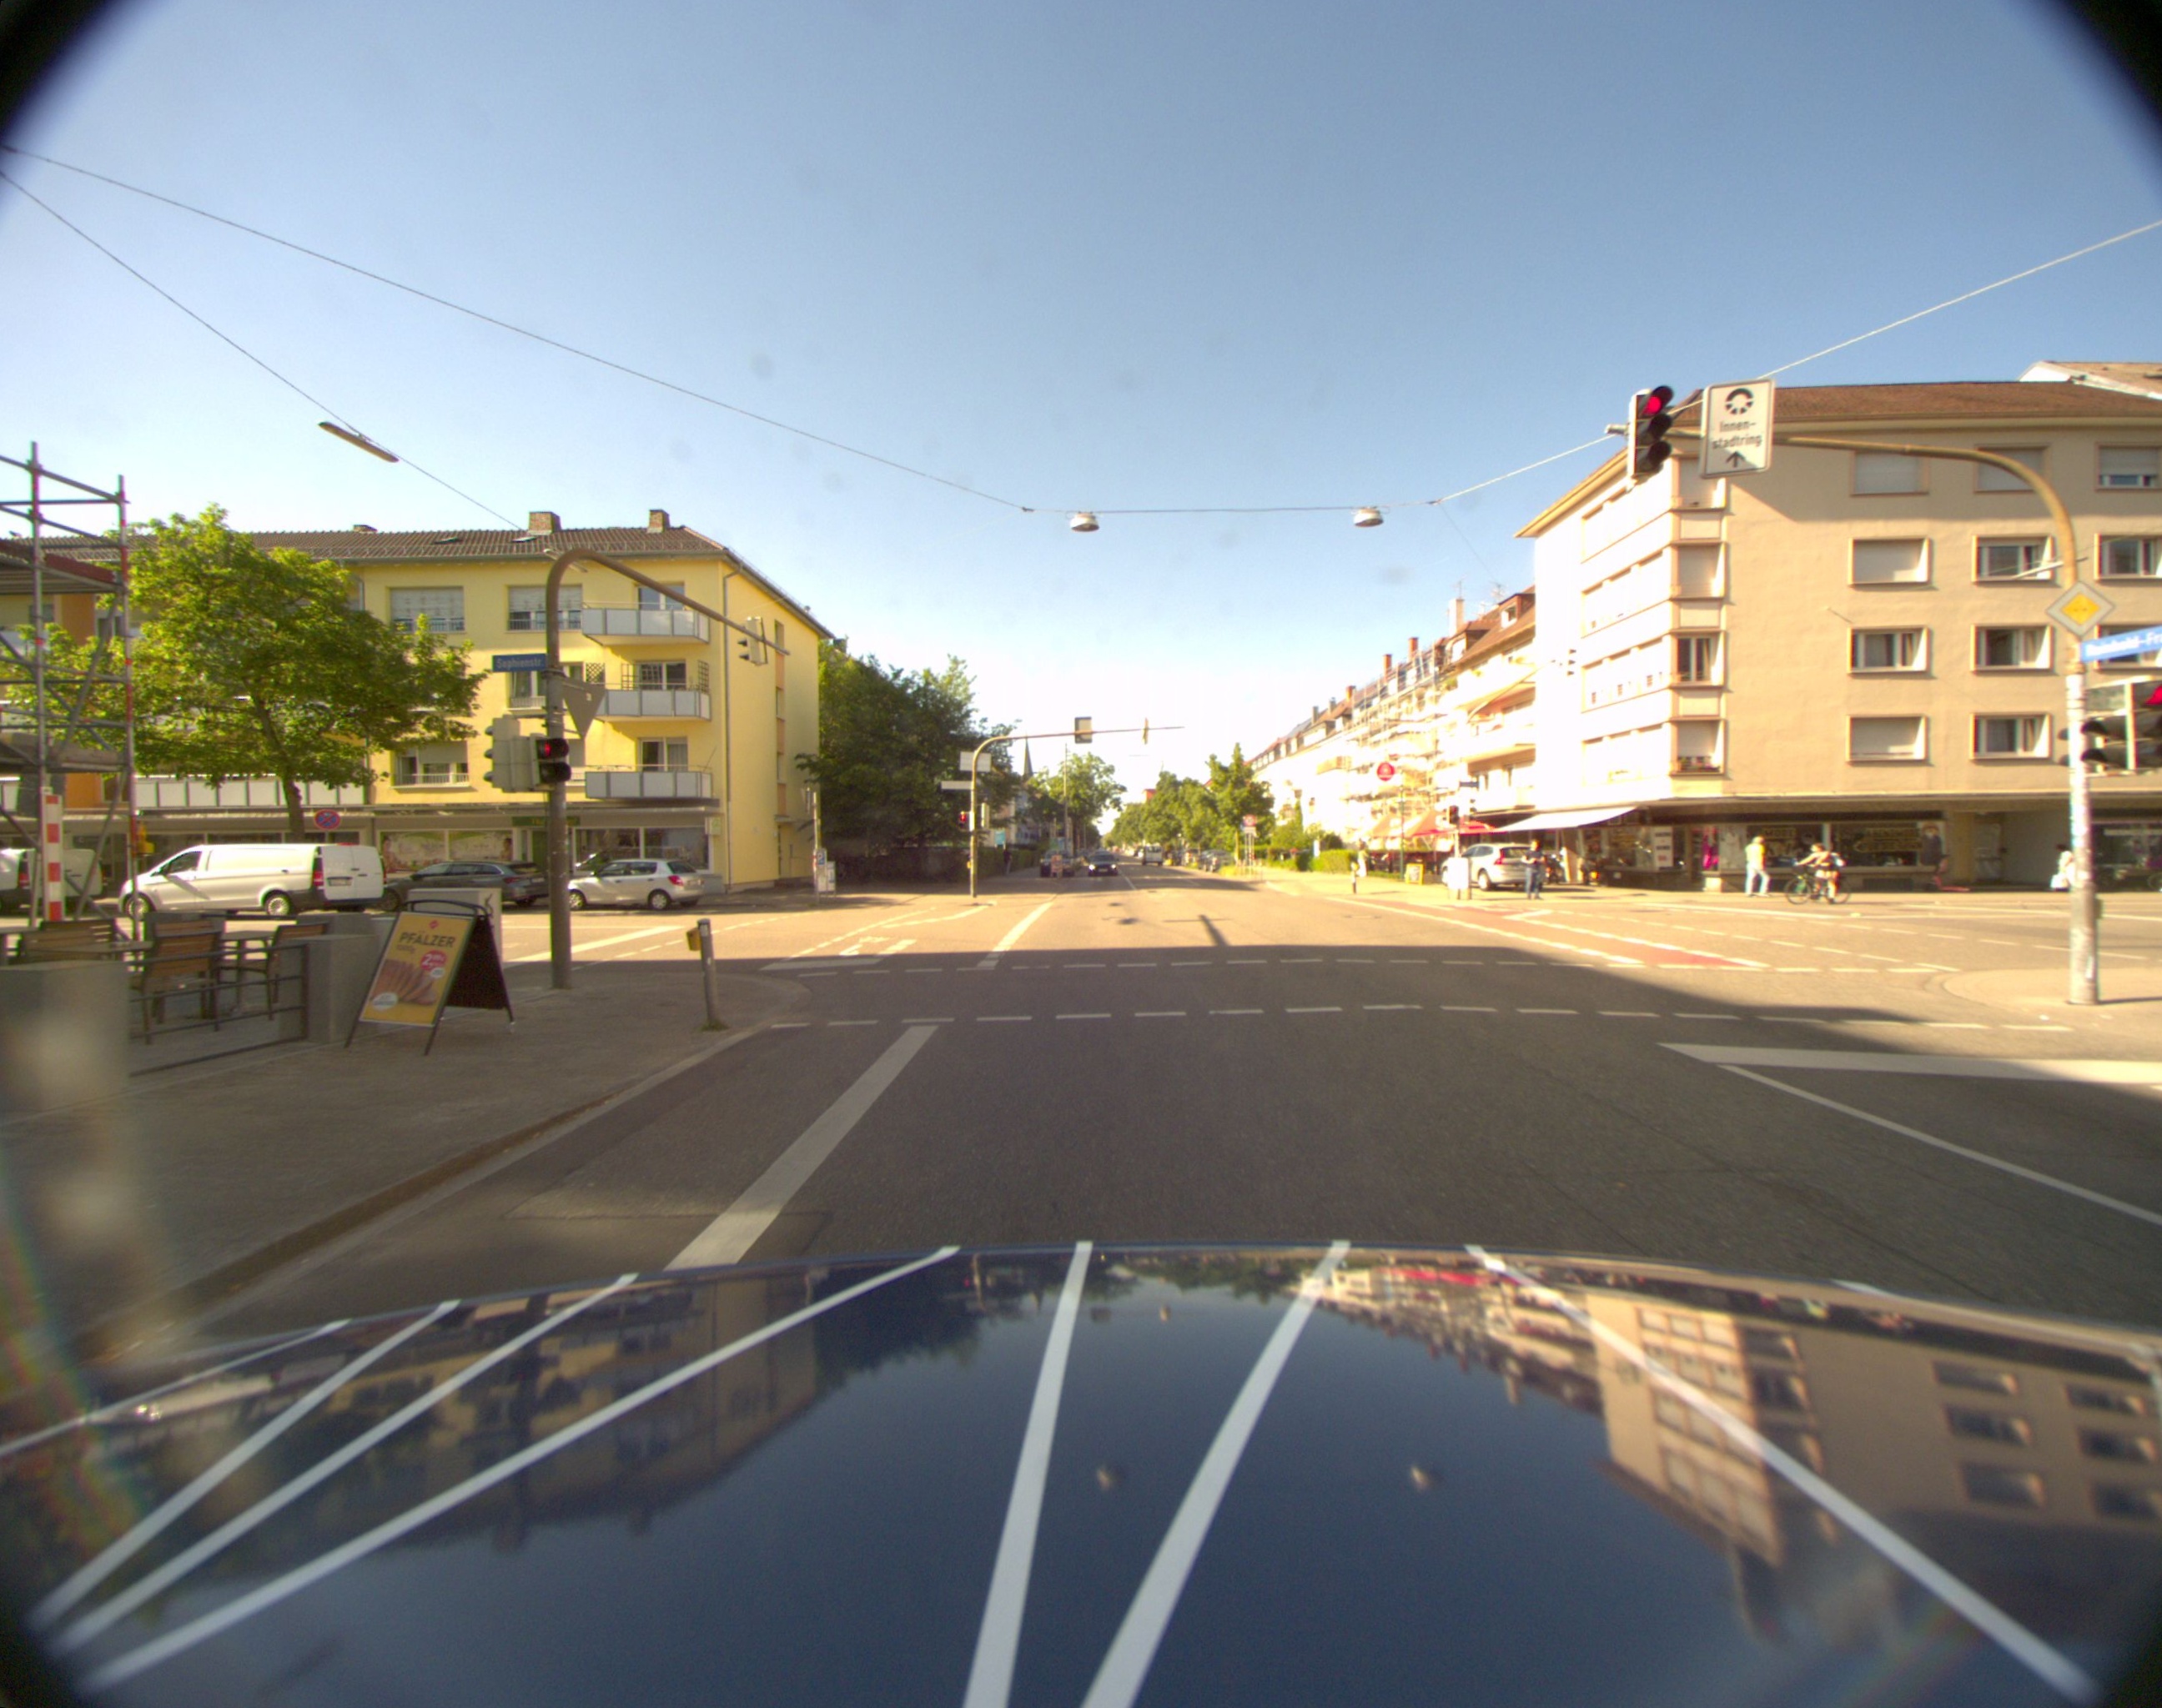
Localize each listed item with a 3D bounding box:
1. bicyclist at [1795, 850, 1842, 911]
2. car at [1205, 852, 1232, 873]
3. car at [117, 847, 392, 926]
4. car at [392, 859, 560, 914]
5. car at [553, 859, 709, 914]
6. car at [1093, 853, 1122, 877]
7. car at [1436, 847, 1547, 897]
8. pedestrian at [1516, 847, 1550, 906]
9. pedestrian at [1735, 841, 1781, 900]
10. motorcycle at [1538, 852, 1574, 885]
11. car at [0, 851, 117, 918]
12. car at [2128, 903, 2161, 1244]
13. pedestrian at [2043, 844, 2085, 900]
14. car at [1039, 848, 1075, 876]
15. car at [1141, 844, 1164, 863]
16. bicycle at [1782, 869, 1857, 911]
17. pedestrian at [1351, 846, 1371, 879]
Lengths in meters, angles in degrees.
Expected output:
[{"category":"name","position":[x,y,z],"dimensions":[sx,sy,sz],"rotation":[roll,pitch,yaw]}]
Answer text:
[{"category":"bicyclist","position":[19.744,0.695,20.357],"dimensions":[0.685,1.598,0.578],"rotation":[-1,1,0]},{"category":"car","position":[9.146,0.532,50.607],"dimensions":[1.322,1.348,3.093],"rotation":[-1,1,2]},{"category":"car","position":[-20.713,0.788,19.195],"dimensions":[4.961,1.849,1.866],"rotation":[-1,0,1]},{"category":"car","position":[-17.629,0.925,22.255],"dimensions":[3.644,1.473,1.579],"rotation":[-1,1,2]},{"category":"car","position":[-13.030,0.924,22.115],"dimensions":[3.644,1.473,1.481],"rotation":[-1,1,2]},{"category":"car","position":[1.591,0.614,45.952],"dimensions":[1.654,1.348,4.304],"rotation":[-1,1,2]},{"category":"car","position":[14.504,0.585,27.161],"dimensions":[1.764,1.613,4.304],"rotation":[-1,1,2]},{"category":"pedestrian","position":[13.236,0.647,22.272],"dimensions":[0.671,1.709,0.584],"rotation":[0,2,11]},{"category":"pedestrian","position":[20.130,0.482,22.612],"dimensions":[0.728,1.725,0.683],"rotation":[-1,2,0]},{"category":"motorcycle","position":[20.729,0.614,33.209],"dimensions":[0.570,1.360,1.763],"rotation":[0,1,3]},{"category":"car","position":[-31.251,0.860,22.140],"dimensions":[4.173,1.838,1.835],"rotation":[-1,1,5]},{"category":"car","position":[5.289,0.958,0.954],"dimensions":[1.702,1.398,4.506],"rotation":[2,1,1]},{"category":"pedestrian","position":[29.642,0.528,22.917],"dimensions":[0.564,1.636,0.727],"rotation":[-2,2,-40]},{"category":"car","position":[-1.343,0.416,44.551],"dimensions":[1.822,1.542,4.304],"rotation":[-1,1,2]},{"category":"car","position":[7.132,-0.078,76.407],"dimensions":[1.965,1.911,5.496],"rotation":[-1,1,2]},{"category":"bicycle","position":[19.829,0.960,20.417],"dimensions":[1.565,1.070,0.449],"rotation":[-1,1,0]},{"category":"pedestrian","position":[13.339,0.406,36.174],"dimensions":[0.643,1.502,0.535],"rotation":[-4,1,0]}]
